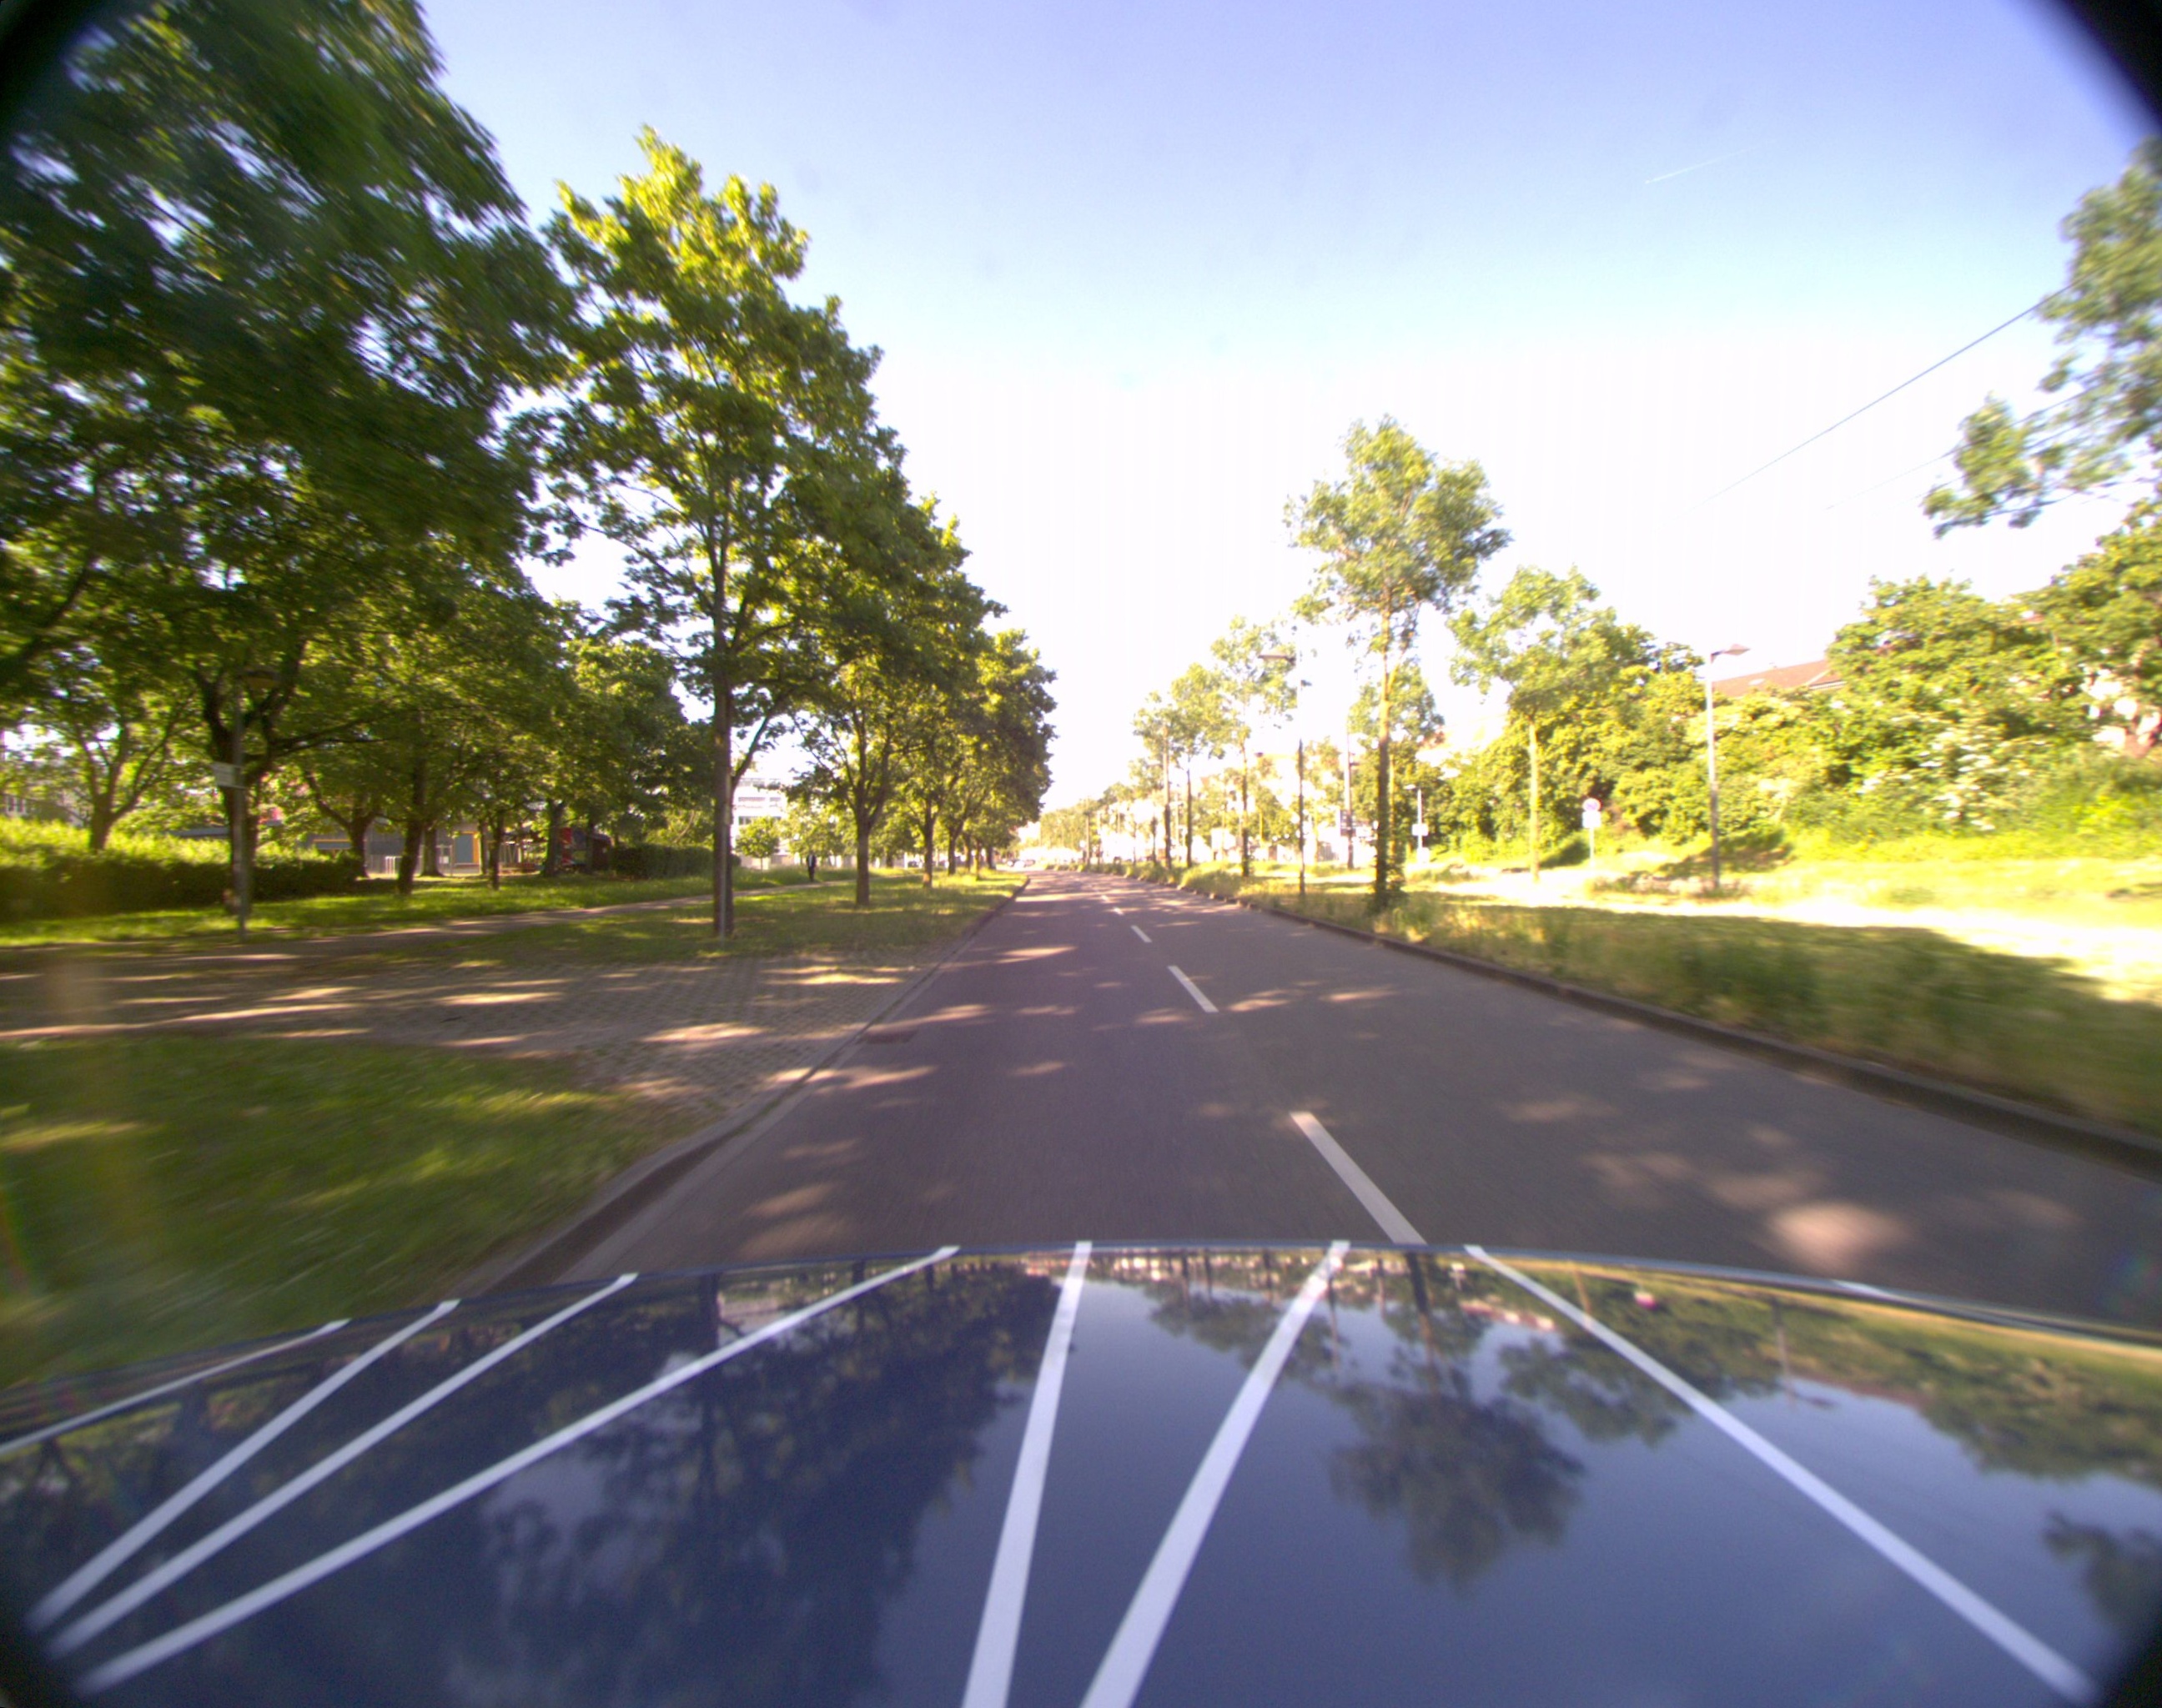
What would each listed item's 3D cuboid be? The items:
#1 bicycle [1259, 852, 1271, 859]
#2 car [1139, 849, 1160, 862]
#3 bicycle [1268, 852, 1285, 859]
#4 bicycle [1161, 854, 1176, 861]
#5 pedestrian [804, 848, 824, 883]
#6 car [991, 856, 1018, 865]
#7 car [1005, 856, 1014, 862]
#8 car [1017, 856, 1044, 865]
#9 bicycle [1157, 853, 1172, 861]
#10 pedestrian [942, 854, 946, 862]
[{"bbox_3d":[29.580,0.255,122.413,0.720,1.205,2.549,-1,0,-14],"label":"bicycle"},{"bbox_3d":[10.527,0.281,117.470,1.826,1.630,4.486,-1,-3,-13],"label":"car"},{"bbox_3d":[31.056,0.237,120.934,2.553,1.205,0.719,-1,0,-14],"label":"bicycle"},{"bbox_3d":[15.892,0.612,138.479,2.582,1.152,0.782,-1,0,-16],"label":"bicycle"},{"bbox_3d":[-13.974,0.596,39.793,0.717,1.793,0.793,-1,1,-4],"label":"pedestrian"},{"bbox_3d":[-14.268,1.154,141.229,4.635,1.613,1.997,-1,1,-19],"label":"car"},{"bbox_3d":[-23.114,1.637,245.034,1.835,1.700,4.234,-1,0,-20],"label":"car"},{"bbox_3d":[-8.828,1.194,133.563,4.193,1.457,2.330,-1,0,-21],"label":"car"},{"bbox_3d":[15.405,0.551,140.561,2.582,1.301,0.662,-1,0,-16],"label":"bicycle"},{"bbox_3d":[-28.067,0.785,155.660,0.733,1.687,0.734,-1,0,-14],"label":"pedestrian"}]
